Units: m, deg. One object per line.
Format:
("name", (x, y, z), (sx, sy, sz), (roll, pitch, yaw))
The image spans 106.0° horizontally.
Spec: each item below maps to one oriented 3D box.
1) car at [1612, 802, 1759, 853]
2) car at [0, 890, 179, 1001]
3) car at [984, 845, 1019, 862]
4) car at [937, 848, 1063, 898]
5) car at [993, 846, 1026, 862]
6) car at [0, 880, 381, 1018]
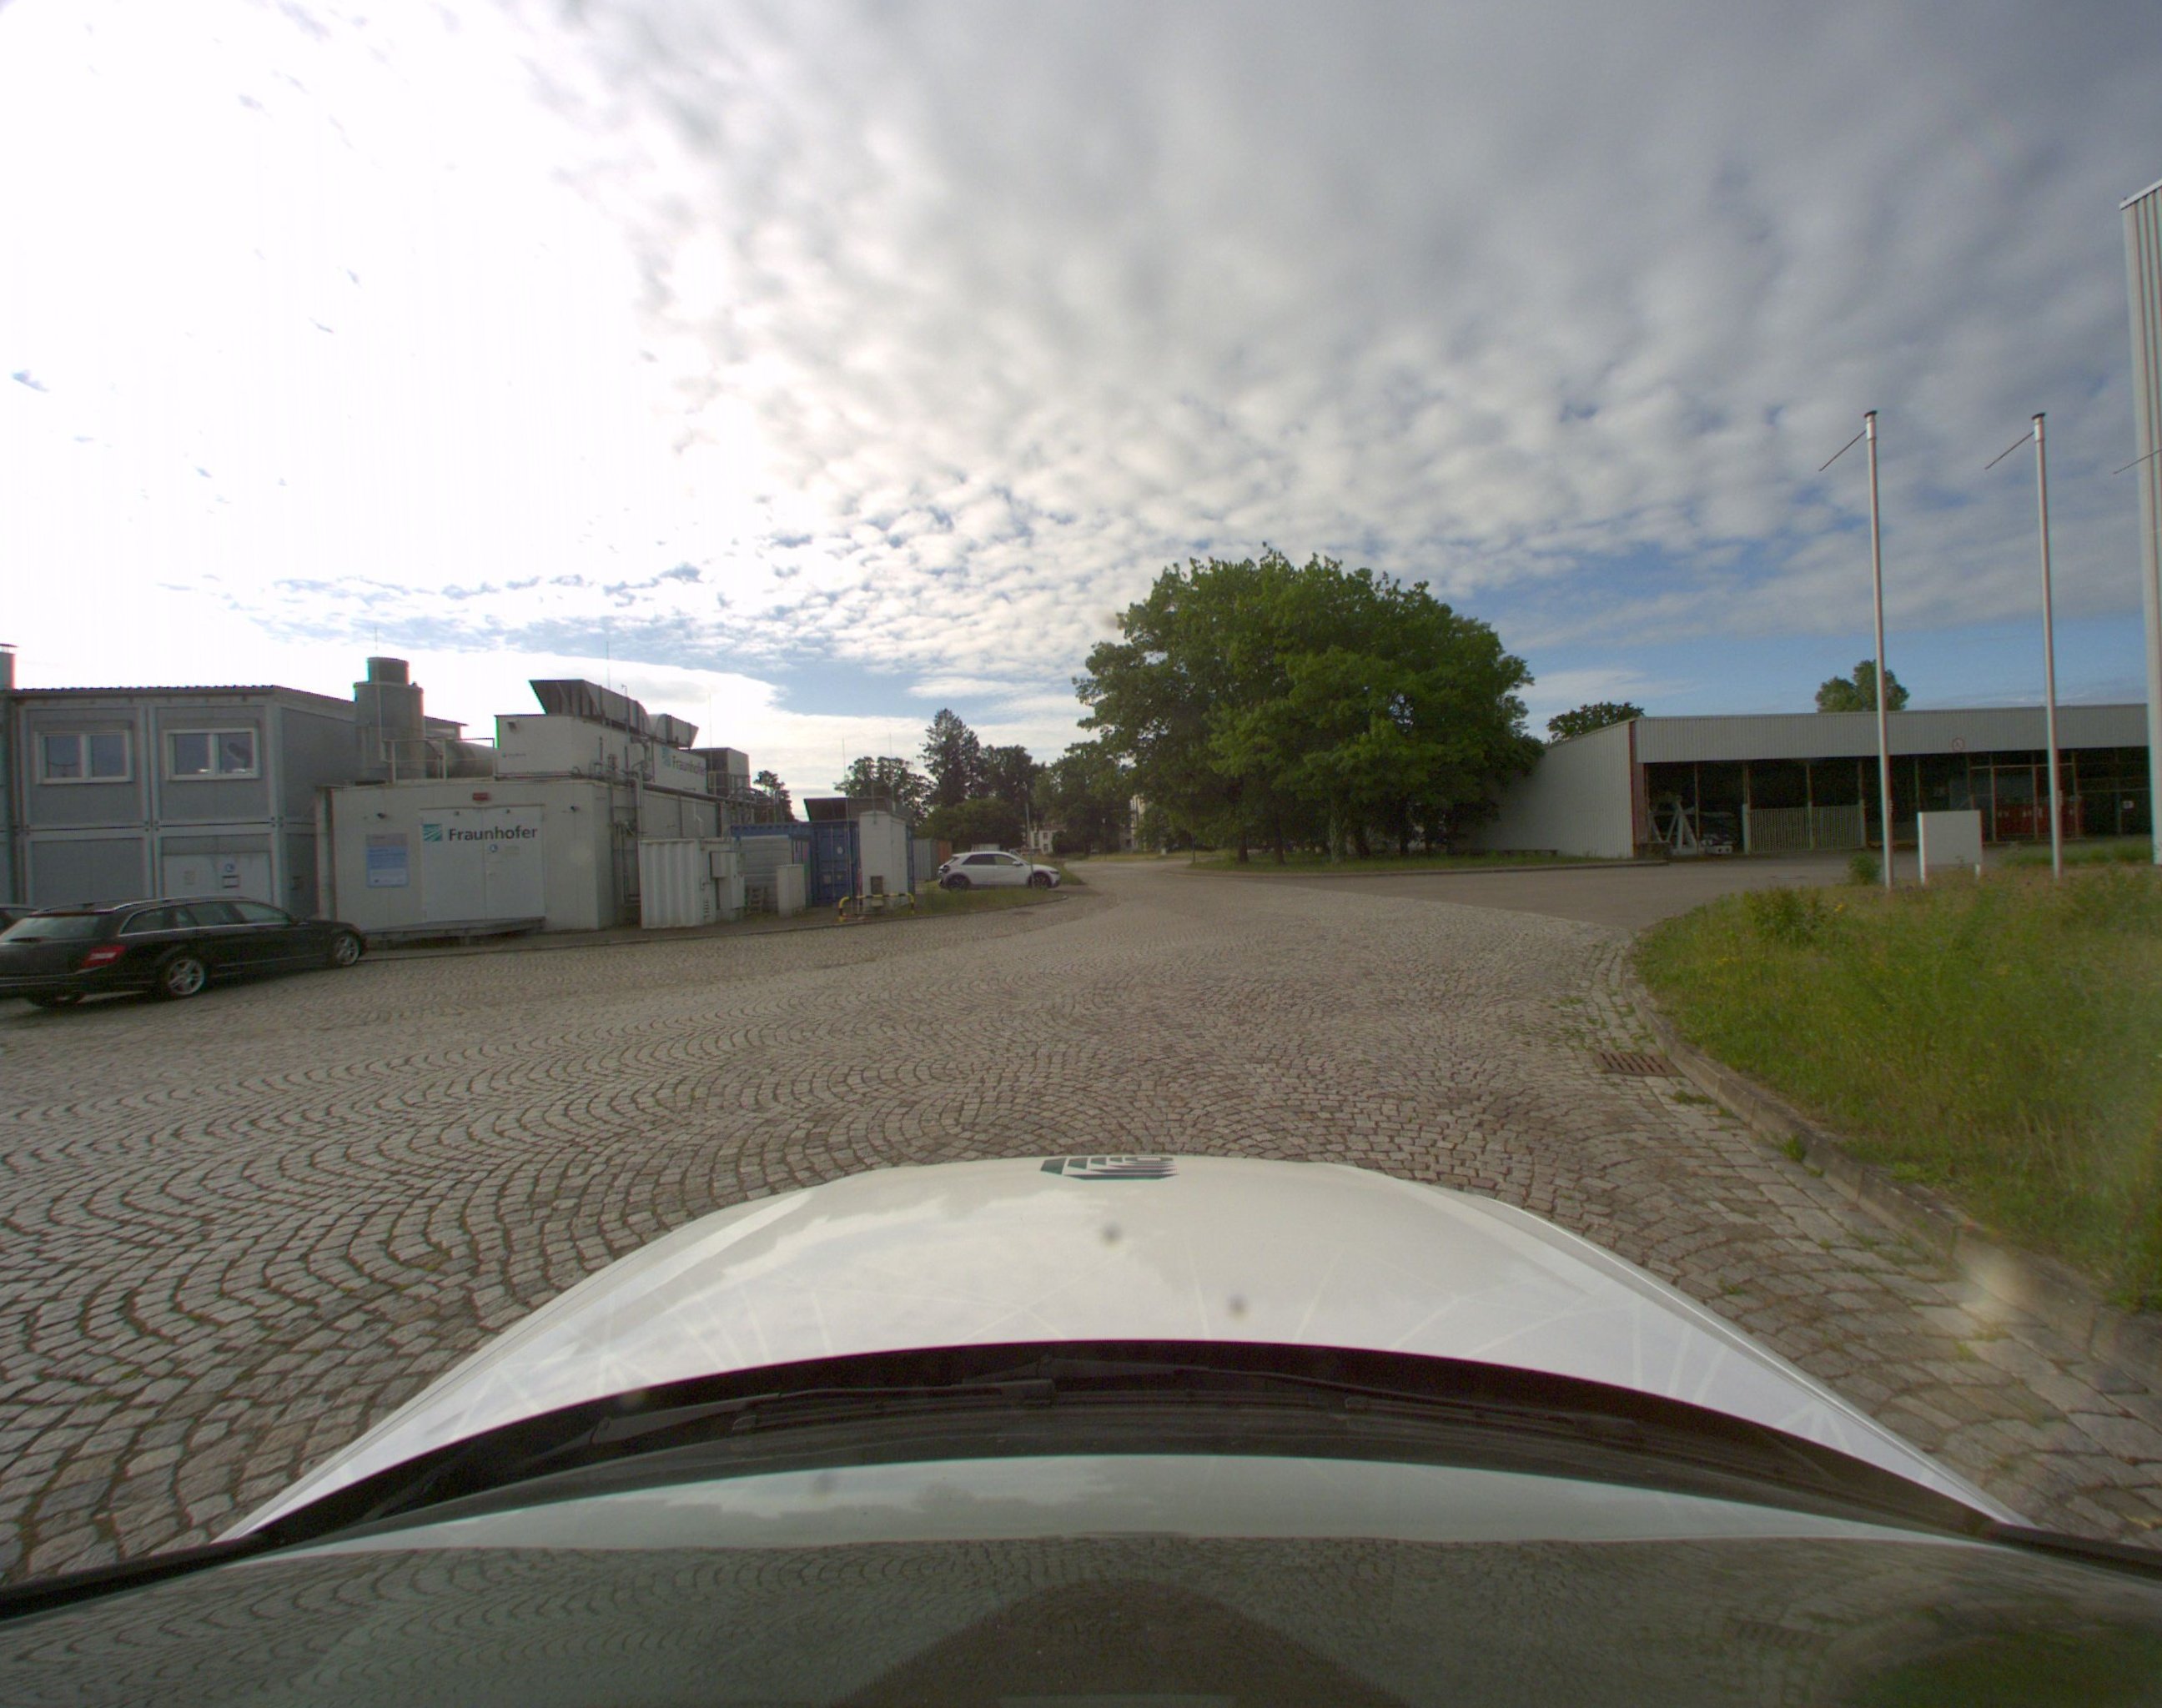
("car", (26.984, -1.096, 36.654), (2.239, 2.013, 5.325), (-3, 0, -6))
("car", (-17.025, 1.460, 12.561), (1.905, 1.475, 4.037), (-3, 1, -7))
("car", (-11.933, -0.055, 122.306), (5.163, 2.337, 1.996), (-3, 0, -6))
("car", (-3.009, 0.697, 30.876), (4.524, 1.599, 1.998), (-3, 0, -3))
("car", (-11.568, -0.017, 131.932), (5.163, 2.337, 1.996), (-3, 0, -6))
("car", (-13.812, 1.308, 12.702), (2.033, 1.453, 4.522), (-3, 2, -5))
